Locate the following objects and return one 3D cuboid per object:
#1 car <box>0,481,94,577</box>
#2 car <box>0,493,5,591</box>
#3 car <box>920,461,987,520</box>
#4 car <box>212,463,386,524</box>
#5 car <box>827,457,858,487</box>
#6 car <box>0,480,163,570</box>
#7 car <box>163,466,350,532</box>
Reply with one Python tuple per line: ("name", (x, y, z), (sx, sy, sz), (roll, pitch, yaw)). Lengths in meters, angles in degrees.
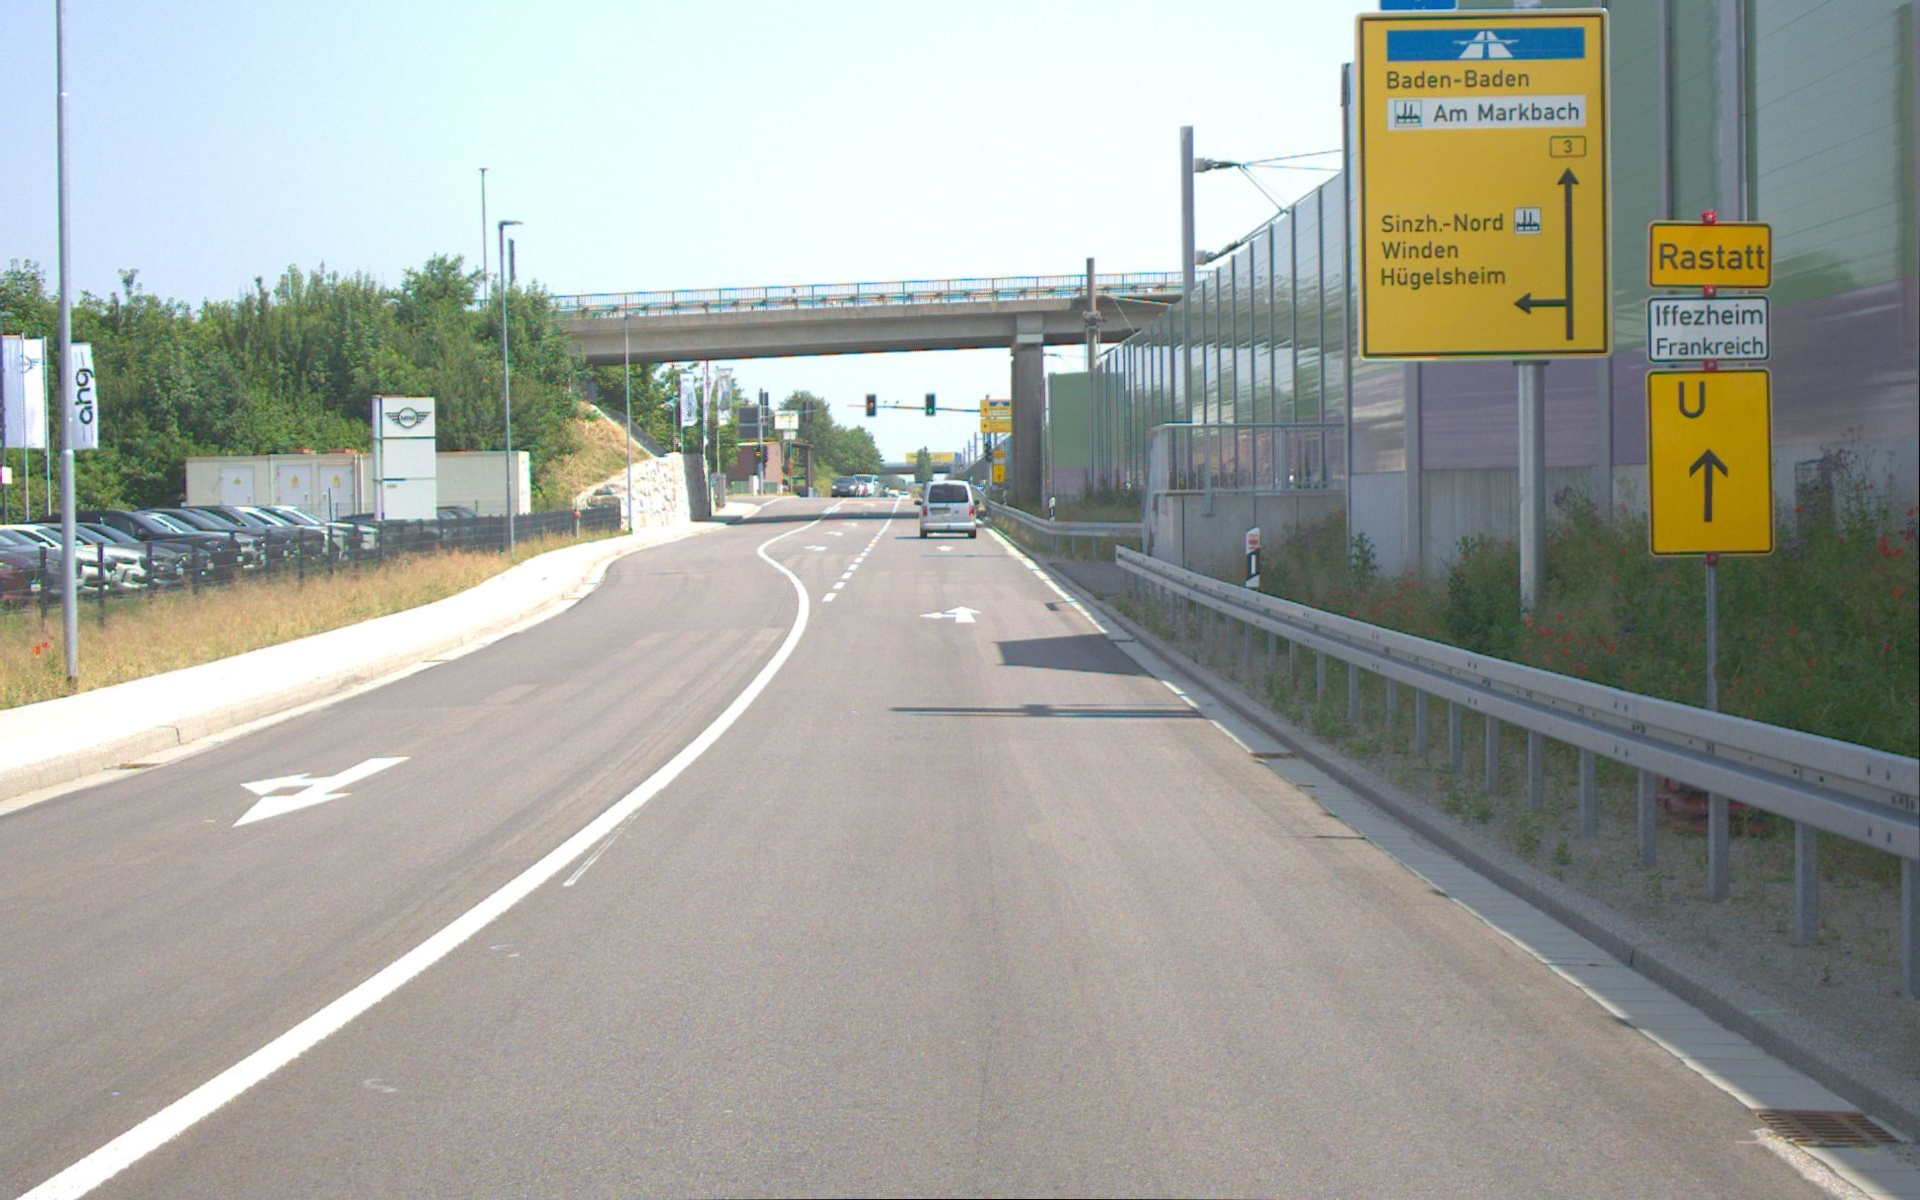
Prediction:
("car", (-17.013, -1.172, 58.291), (4.164, 1.539, 1.816), (-1, 3, 0))
("car", (-17.177, -0.820, 53.304), (4.164, 1.539, 1.816), (-1, 3, 0))
("car", (-0.180, -3.432, 107.431), (1.993, 1.751, 4.001), (-1, 3, 1))
("car", (-17.317, -2.806, 90.208), (4.164, 1.461, 1.816), (-1, 3, 0))
("car", (-7.938, -8.648, 232.432), (1.993, 1.919, 4.001), (-2, 2, 0))
("car", (-17.106, -1.386, 63.756), (4.164, 1.539, 1.816), (-1, 3, 0))
("car", (-17.271, -2.498, 84.496), (4.164, 1.461, 1.816), (-1, 3, 0))
